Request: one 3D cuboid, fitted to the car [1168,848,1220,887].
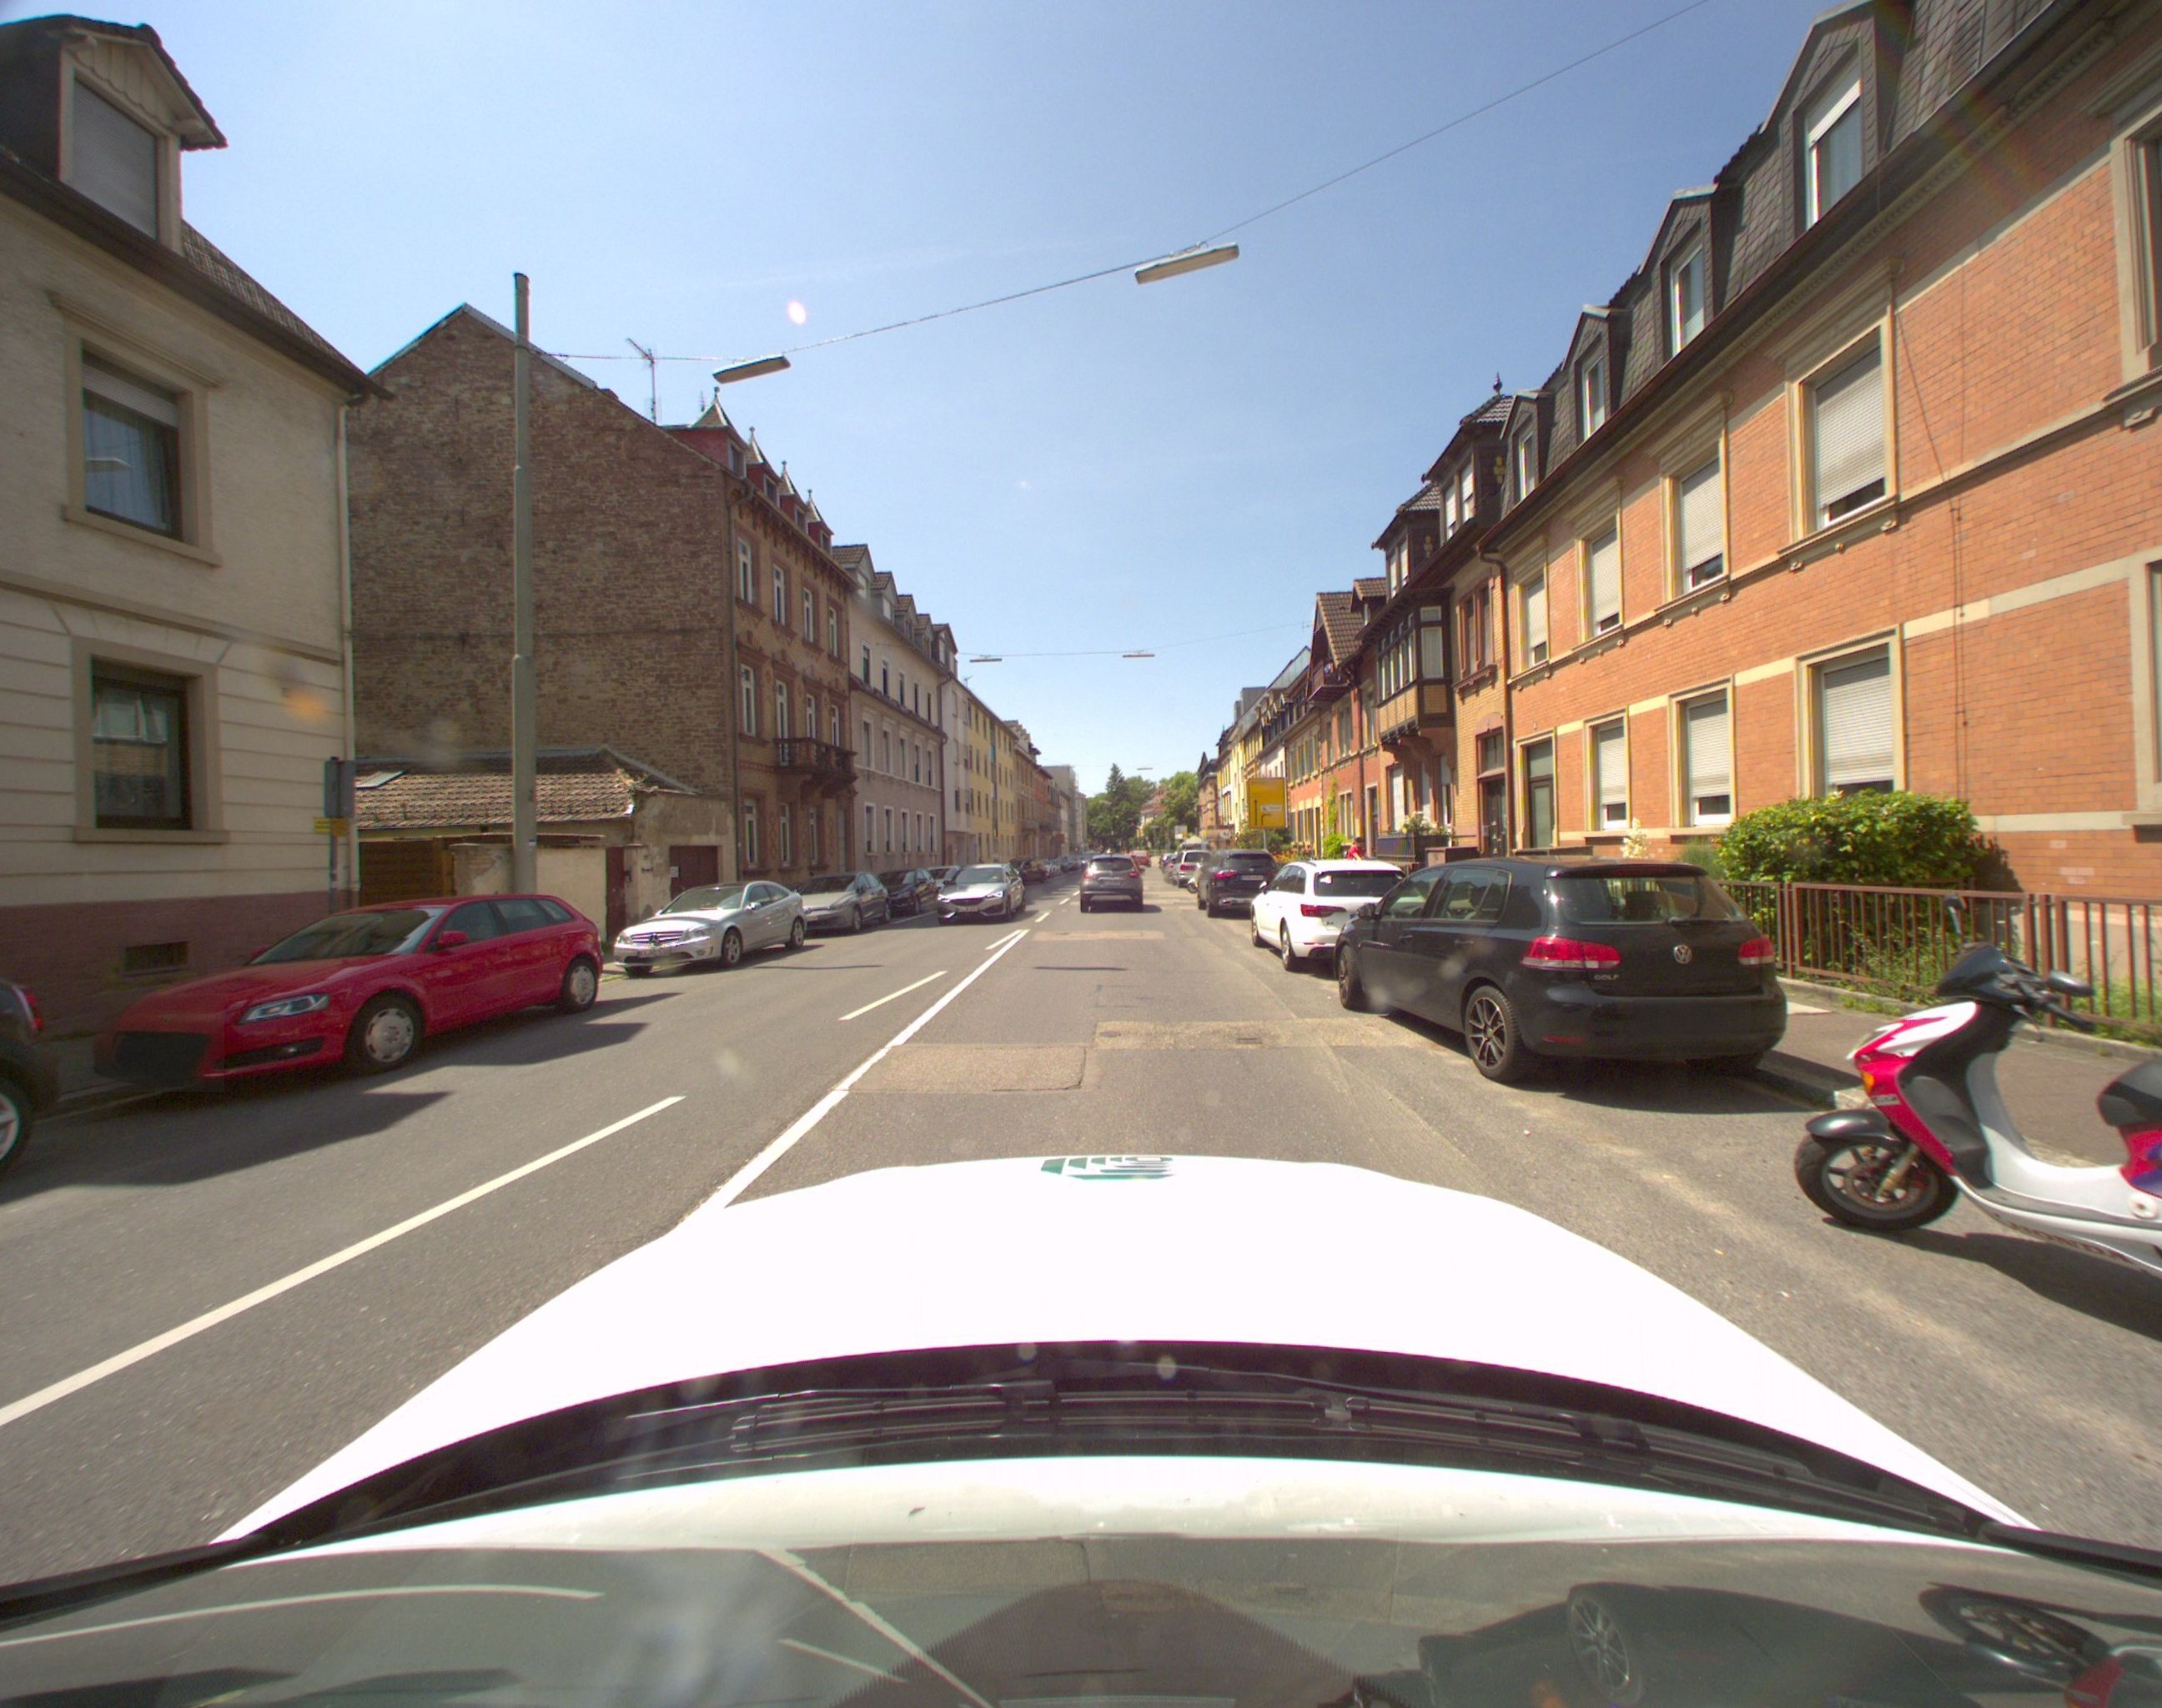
[{"bbox_3d":[5.293,0.597,38.705,1.854,1.748,4.618,-1,0,1],"label":"car"}]

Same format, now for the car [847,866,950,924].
[{"bbox_3d":[-5.681,1.225,25.950,1.831,1.422,4.507,-6,-1,4],"label":"car"}]

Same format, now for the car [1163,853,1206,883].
[{"bbox_3d":[5.534,0.715,43.988,1.853,1.487,4.312,-1,0,2],"label":"car"}]

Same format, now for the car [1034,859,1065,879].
[{"bbox_3d":[-2.549,1.202,67.302,1.896,1.401,4.760,-5,0,4],"label":"car"}]

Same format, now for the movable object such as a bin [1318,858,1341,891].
[{"bbox_3d":[8.359,0.685,27.376,0.554,1.076,0.728,-3,0,4],"label":"movable object such as a bin"}]

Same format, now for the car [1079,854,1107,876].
[{"bbox_3d":[1.076,0.934,71.796,1.984,1.792,5.155,-3,0,5],"label":"car"}]

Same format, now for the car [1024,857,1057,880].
[{"bbox_3d":[-2.973,1.060,61.322,1.896,1.510,4.306,-5,0,3],"label":"car"}]

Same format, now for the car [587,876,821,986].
[{"bbox_3d":[-6.450,1.231,14.612,1.832,1.422,4.505,-5,-1,2],"label":"car"}]

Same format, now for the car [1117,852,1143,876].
[{"bbox_3d":[3.756,0.735,62.816,1.805,1.620,4.443,-4,0,2],"label":"car"}]

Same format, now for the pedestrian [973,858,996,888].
[{"bbox_3d":[-5.942,1.175,50.175,1.145,1.750,0.971,-3,0,6],"label":"pedestrian"}]

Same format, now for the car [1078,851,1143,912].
[{"bbox_3d":[0.920,0.745,23.829,1.736,1.616,4.004,-1,0,4],"label":"car"}]

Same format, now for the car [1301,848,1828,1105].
[{"bbox_3d":[3.426,0.720,6.964,1.644,1.414,4.497,-2,0,-3],"label":"car"}]

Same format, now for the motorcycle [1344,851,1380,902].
[{"bbox_3d":[7.250,0.558,21.058,0.438,1.237,1.359,-4,0,3],"label":"motorcycle"}]

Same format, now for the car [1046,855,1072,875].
[{"bbox_3d":[-2.043,1.026,76.692,1.897,1.619,4.306,-5,0,3],"label":"car"}]

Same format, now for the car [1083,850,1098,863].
[{"bbox_3d":[1.536,0.370,128.252,1.896,1.821,4.308,-3,0,5],"label":"car"}]

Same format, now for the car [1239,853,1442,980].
[{"bbox_3d":[3.515,0.746,11.944,1.709,1.414,4.593,-3,0,3],"label":"car"}]

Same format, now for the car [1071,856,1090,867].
[{"bbox_3d":[-0.013,0.941,102.110,1.895,1.291,4.310,-3,0,6],"label":"car"}]

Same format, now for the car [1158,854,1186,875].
[{"bbox_3d":[6.895,0.794,62.265,1.852,1.465,4.622,-1,0,3],"label":"car"}]

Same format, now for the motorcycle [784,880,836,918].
[{"bbox_3d":[-8.320,1.355,25.083,0.709,1.053,1.940,-2,0,6],"label":"motorcycle"}]

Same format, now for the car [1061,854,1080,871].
[{"bbox_3d":[-1.088,0.883,88.136,1.899,1.619,4.301,-5,0,0],"label":"car"}]

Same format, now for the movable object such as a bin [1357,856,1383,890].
[{"bbox_3d":[9.668,0.631,27.299,0.606,1.076,0.762,-3,0,4],"label":"movable object such as a bin"}]

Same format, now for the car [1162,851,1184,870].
[{"bbox_3d":[8.292,0.565,73.453,1.851,1.553,4.006,-1,0,5],"label":"car"}]

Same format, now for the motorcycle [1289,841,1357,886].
[{"bbox_3d":[8.724,0.341,29.429,2.120,1.408,0.938,-4,-1,2],"label":"motorcycle"}]

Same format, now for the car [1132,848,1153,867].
[{"bbox_3d":[6.931,0.353,91.658,1.982,2.013,4.476,-3,0,8],"label":"car"}]

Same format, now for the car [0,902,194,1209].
[{"bbox_3d":[-6.834,1.192,3.057,1.833,1.596,4.505,-6,-1,2],"label":"car"}]

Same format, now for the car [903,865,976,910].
[{"bbox_3d":[-5.379,1.244,31.596,1.833,1.422,4.503,-5,-1,1],"label":"car"}]

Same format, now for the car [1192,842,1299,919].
[{"bbox_3d":[4.094,0.604,21.014,1.985,1.662,4.629,-3,0,3],"label":"car"}]

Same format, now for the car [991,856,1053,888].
[{"bbox_3d":[-3.540,1.052,49.647,1.888,1.637,4.582,-5,0,21],"label":"car"}]

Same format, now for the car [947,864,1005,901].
[{"bbox_3d":[-4.746,1.253,37.517,1.833,1.422,4.647,-5,-1,1],"label":"car"}]

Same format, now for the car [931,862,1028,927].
[{"bbox_3d":[-2.558,0.981,21.571,1.783,1.420,4.317,-3,0,2],"label":"car"}]

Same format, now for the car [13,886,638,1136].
[{"bbox_3d":[-6.548,1.192,8.000,1.834,1.422,4.501,-5,0,0],"label":"car"}]

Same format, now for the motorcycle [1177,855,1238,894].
[{"bbox_3d":[4.815,0.779,30.985,1.970,1.385,1.120,-2,-1,41],"label":"motorcycle"}]

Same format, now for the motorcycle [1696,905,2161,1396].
[{"bbox_3d":[3.265,0.836,2.607,1.971,1.225,1.120,-1,0,41],"label":"motorcycle"}]

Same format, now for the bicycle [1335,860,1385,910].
[{"bbox_3d":[6.548,0.700,19.177,0.590,1.066,1.884,-3,0,4],"label":"bicycle"}]

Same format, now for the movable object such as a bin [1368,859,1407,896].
[{"bbox_3d":[8.000,0.609,21.262,0.785,0.907,0.539,-3,0,0],"label":"movable object such as a bin"}]

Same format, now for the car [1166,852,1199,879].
[{"bbox_3d":[6.153,0.669,49.945,1.688,1.487,4.622,-1,0,3],"label":"car"}]

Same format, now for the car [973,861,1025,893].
[{"bbox_3d":[-4.265,1.188,43.289,1.831,1.422,4.563,-6,-1,4],"label":"car"}]

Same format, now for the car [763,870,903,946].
[{"bbox_3d":[-6.039,1.258,20.483,1.833,1.422,4.505,-7,-1,2],"label":"car"}]

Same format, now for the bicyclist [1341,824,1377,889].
[{"bbox_3d":[6.495,0.064,19.074,0.530,1.469,0.791,-3,0,4],"label":"bicyclist"}]
